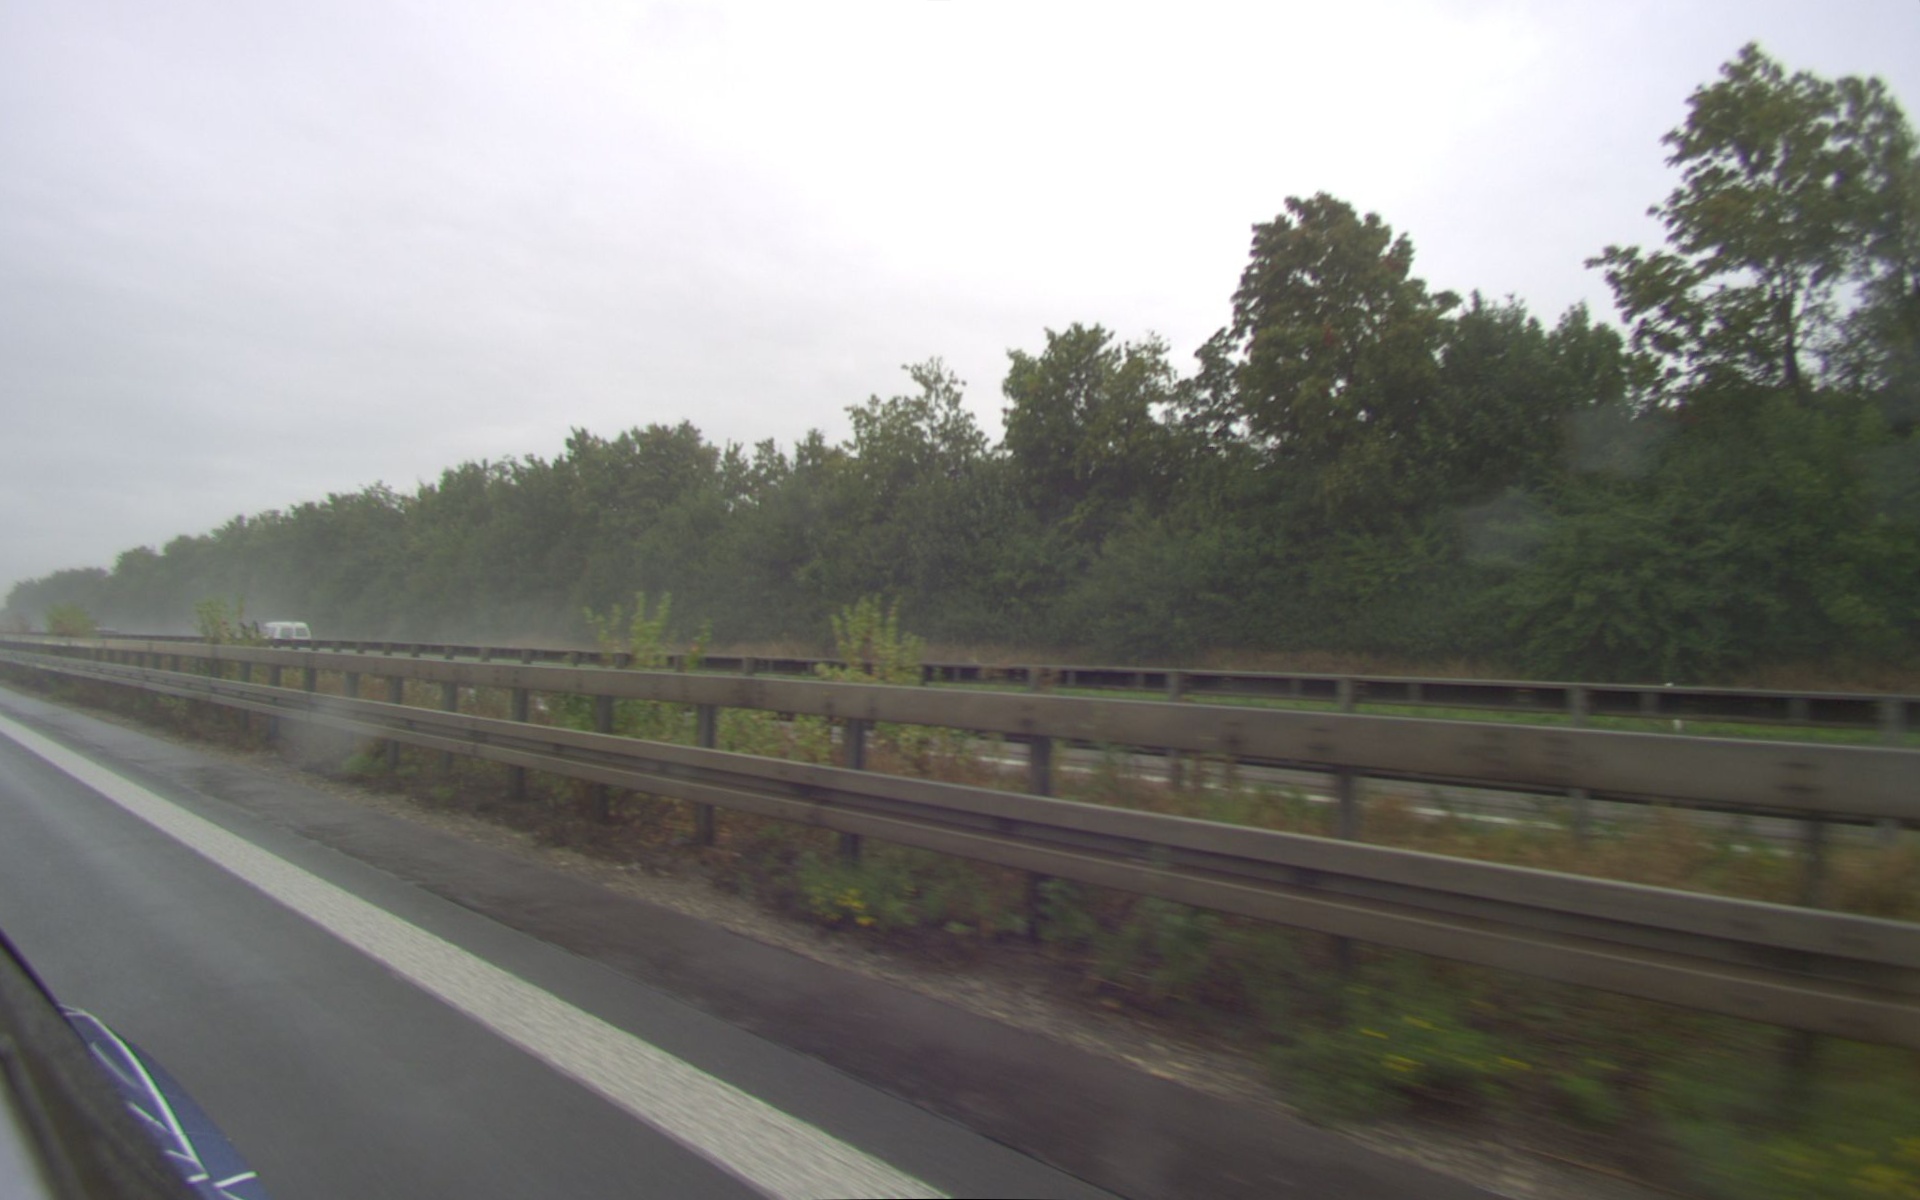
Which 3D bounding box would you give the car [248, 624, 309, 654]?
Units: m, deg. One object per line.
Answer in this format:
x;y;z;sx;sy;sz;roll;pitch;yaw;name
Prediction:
-40.289;2.266;59.758;4.660;1.675;1.717;-1;0;39;car
